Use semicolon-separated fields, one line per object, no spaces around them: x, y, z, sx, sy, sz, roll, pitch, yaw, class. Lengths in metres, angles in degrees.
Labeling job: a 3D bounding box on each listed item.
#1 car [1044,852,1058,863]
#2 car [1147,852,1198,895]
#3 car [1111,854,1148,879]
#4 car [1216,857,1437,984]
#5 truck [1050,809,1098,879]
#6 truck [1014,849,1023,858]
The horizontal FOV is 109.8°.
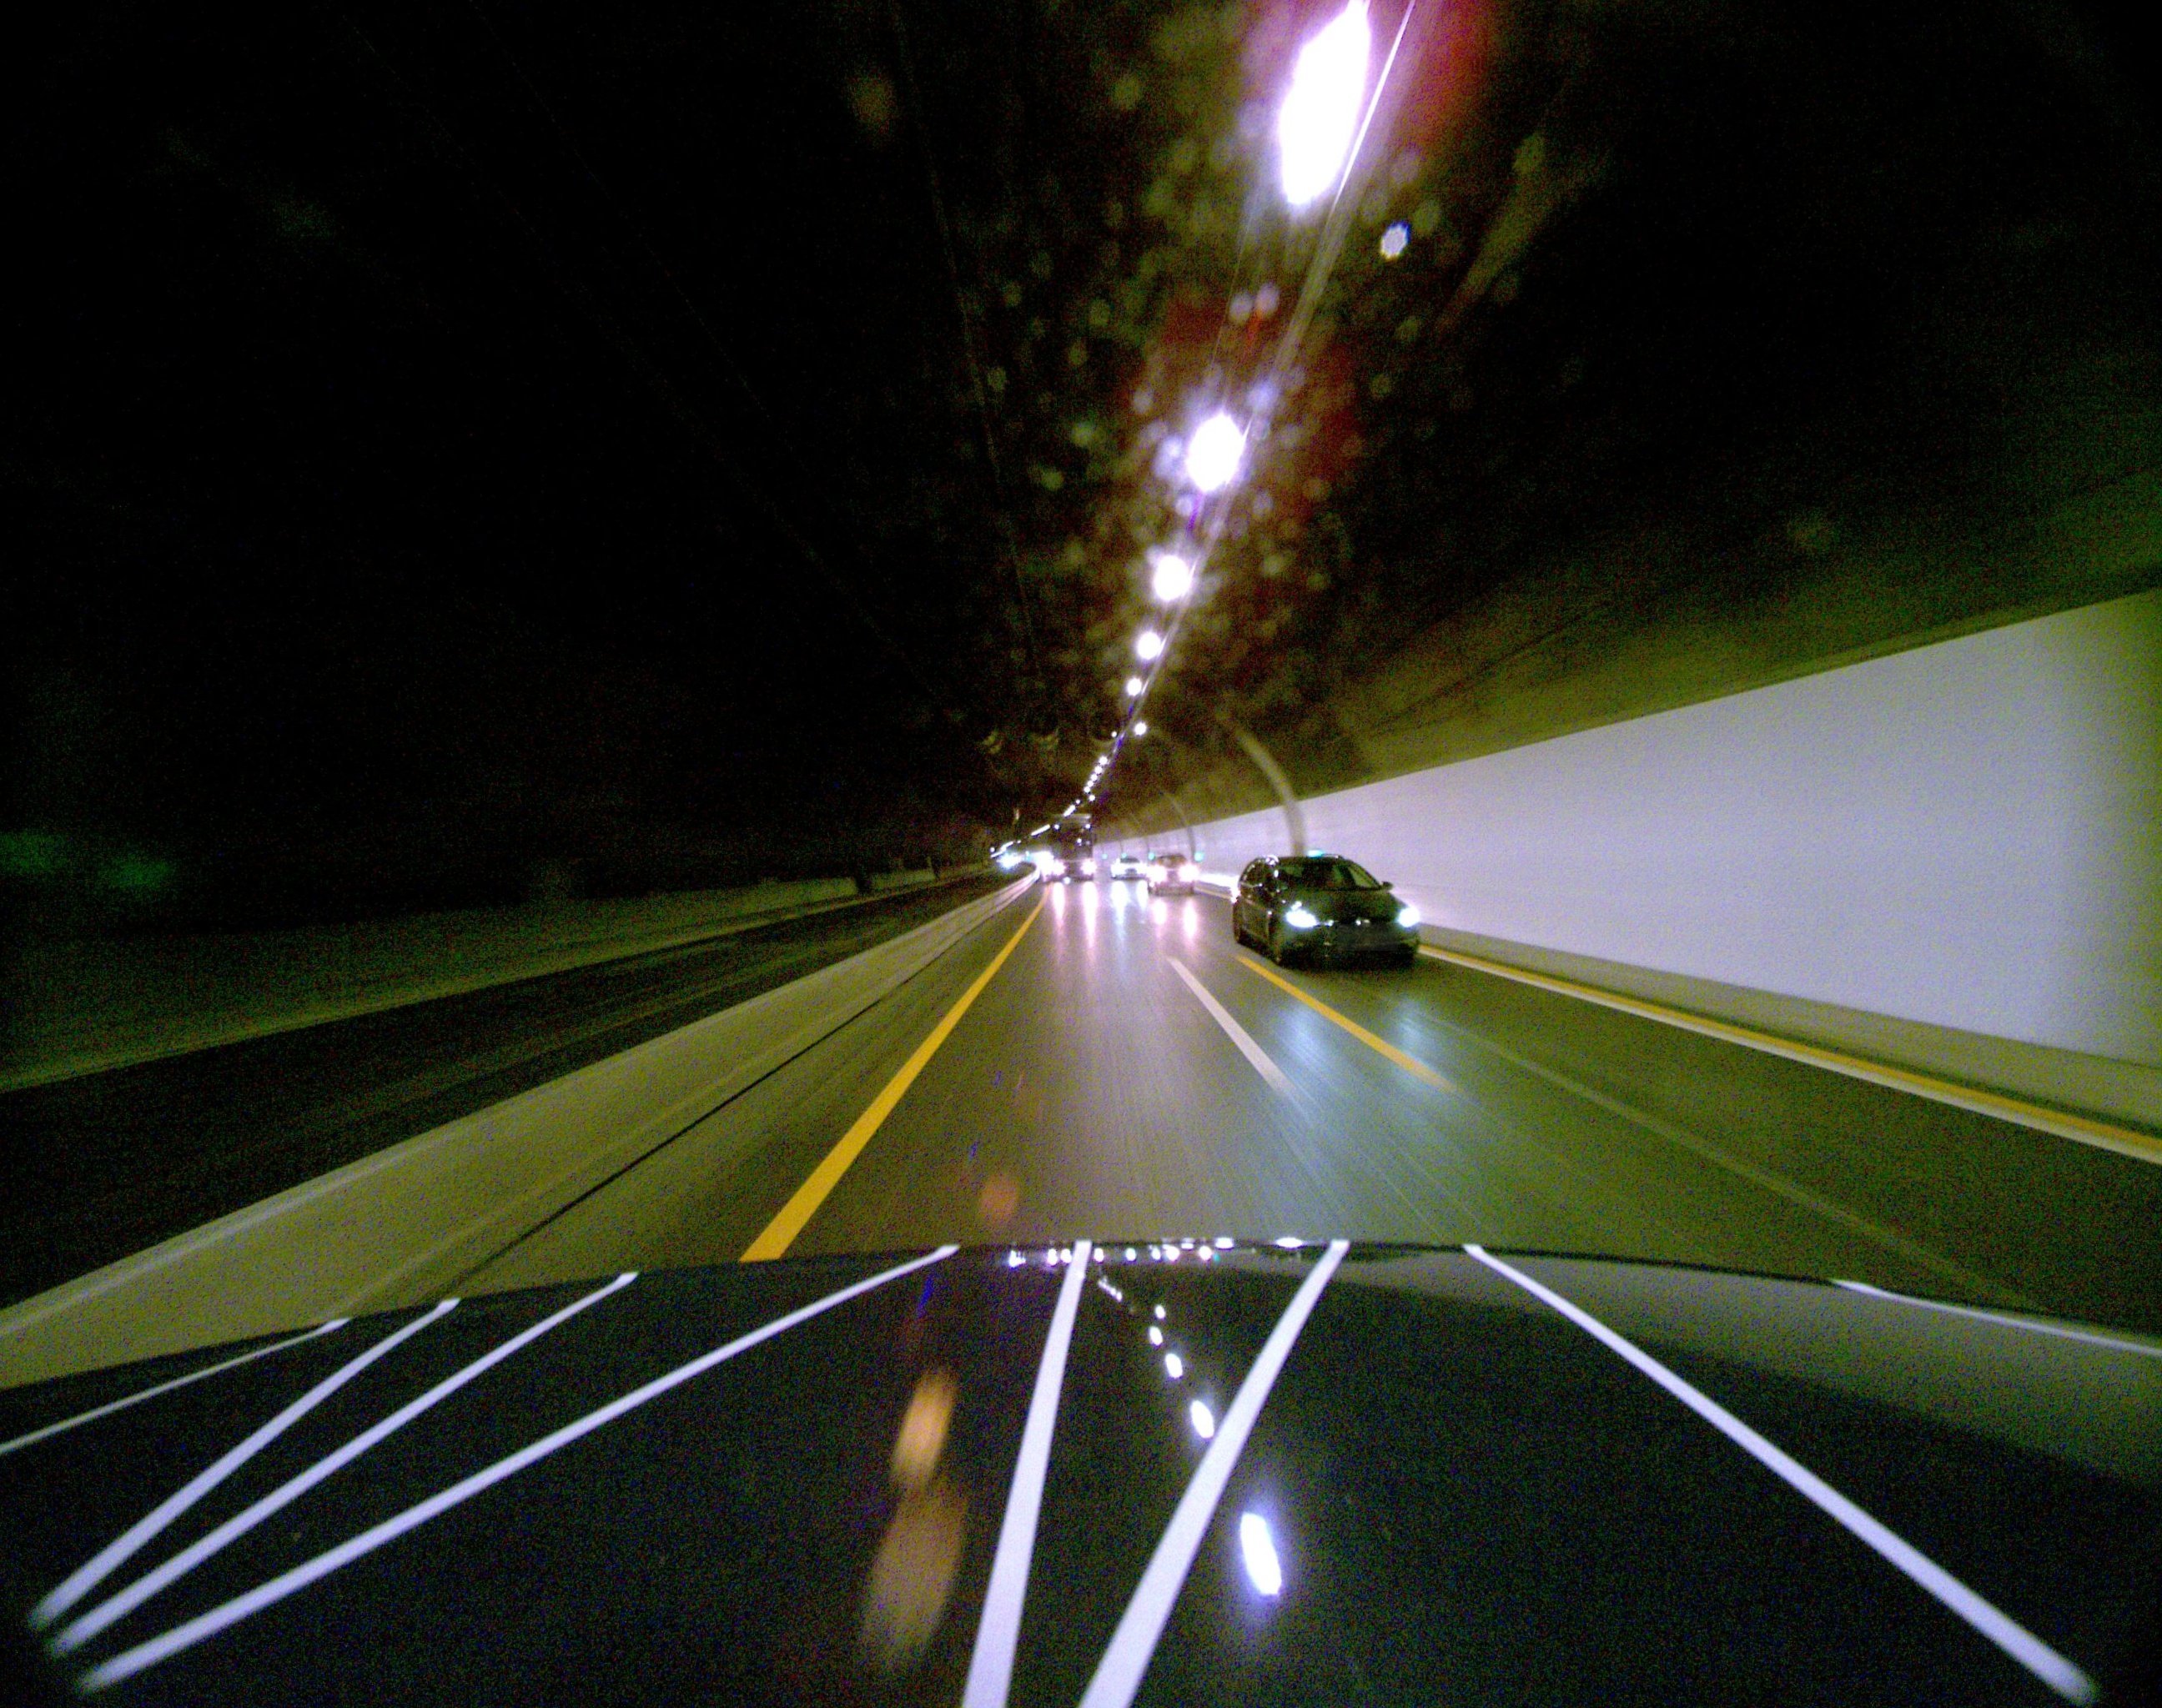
-4.624;0.559;115.638;1.999;1.524;3.998;-2;0;-3;car
3.403;0.699;28.663;1.531;1.508;2.651;-2;0;-2;car
2.978;0.720;47.012;1.909;1.412;4.060;-2;0;-1;car
3.366;0.810;11.530;1.782;1.430;4.882;-2;0;0;car
-0.475;-0.604;49.213;2.742;4.127;8.099;-2;0;-1;truck
-20.119;-0.210;244.404;2.611;2.723;6.393;-2;0;-7;truck
